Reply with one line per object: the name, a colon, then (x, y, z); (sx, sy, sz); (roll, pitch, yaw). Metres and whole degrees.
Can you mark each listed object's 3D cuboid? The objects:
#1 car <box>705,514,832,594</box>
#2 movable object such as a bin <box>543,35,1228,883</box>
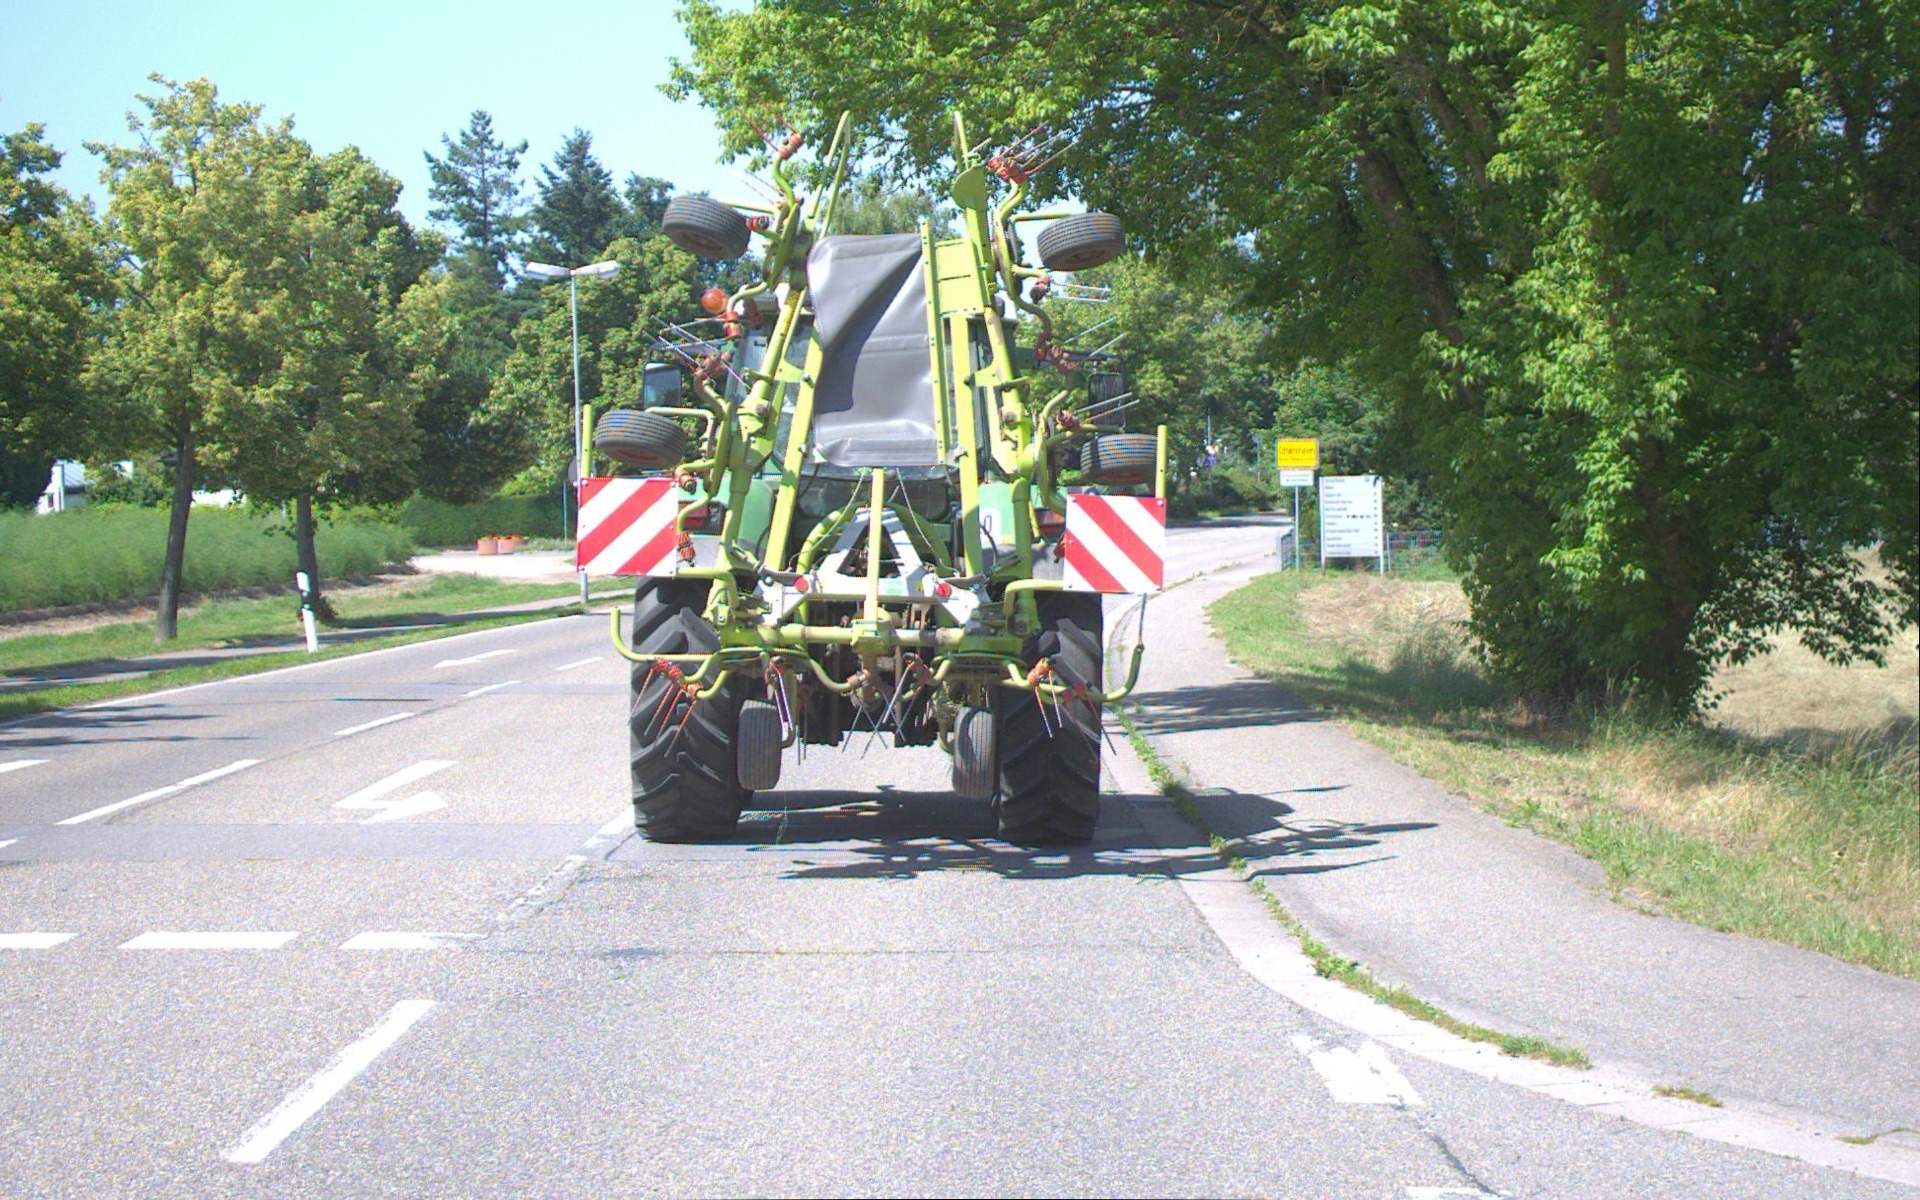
car: (-3.614, -0.893, 65.547); (1.649, 1.429, 3.895); (2, 2, 8)
movable object such as a bin: (-0.428, -0.699, 19.196); (2.852, 3.529, 9.702); (0, 1, -1)
